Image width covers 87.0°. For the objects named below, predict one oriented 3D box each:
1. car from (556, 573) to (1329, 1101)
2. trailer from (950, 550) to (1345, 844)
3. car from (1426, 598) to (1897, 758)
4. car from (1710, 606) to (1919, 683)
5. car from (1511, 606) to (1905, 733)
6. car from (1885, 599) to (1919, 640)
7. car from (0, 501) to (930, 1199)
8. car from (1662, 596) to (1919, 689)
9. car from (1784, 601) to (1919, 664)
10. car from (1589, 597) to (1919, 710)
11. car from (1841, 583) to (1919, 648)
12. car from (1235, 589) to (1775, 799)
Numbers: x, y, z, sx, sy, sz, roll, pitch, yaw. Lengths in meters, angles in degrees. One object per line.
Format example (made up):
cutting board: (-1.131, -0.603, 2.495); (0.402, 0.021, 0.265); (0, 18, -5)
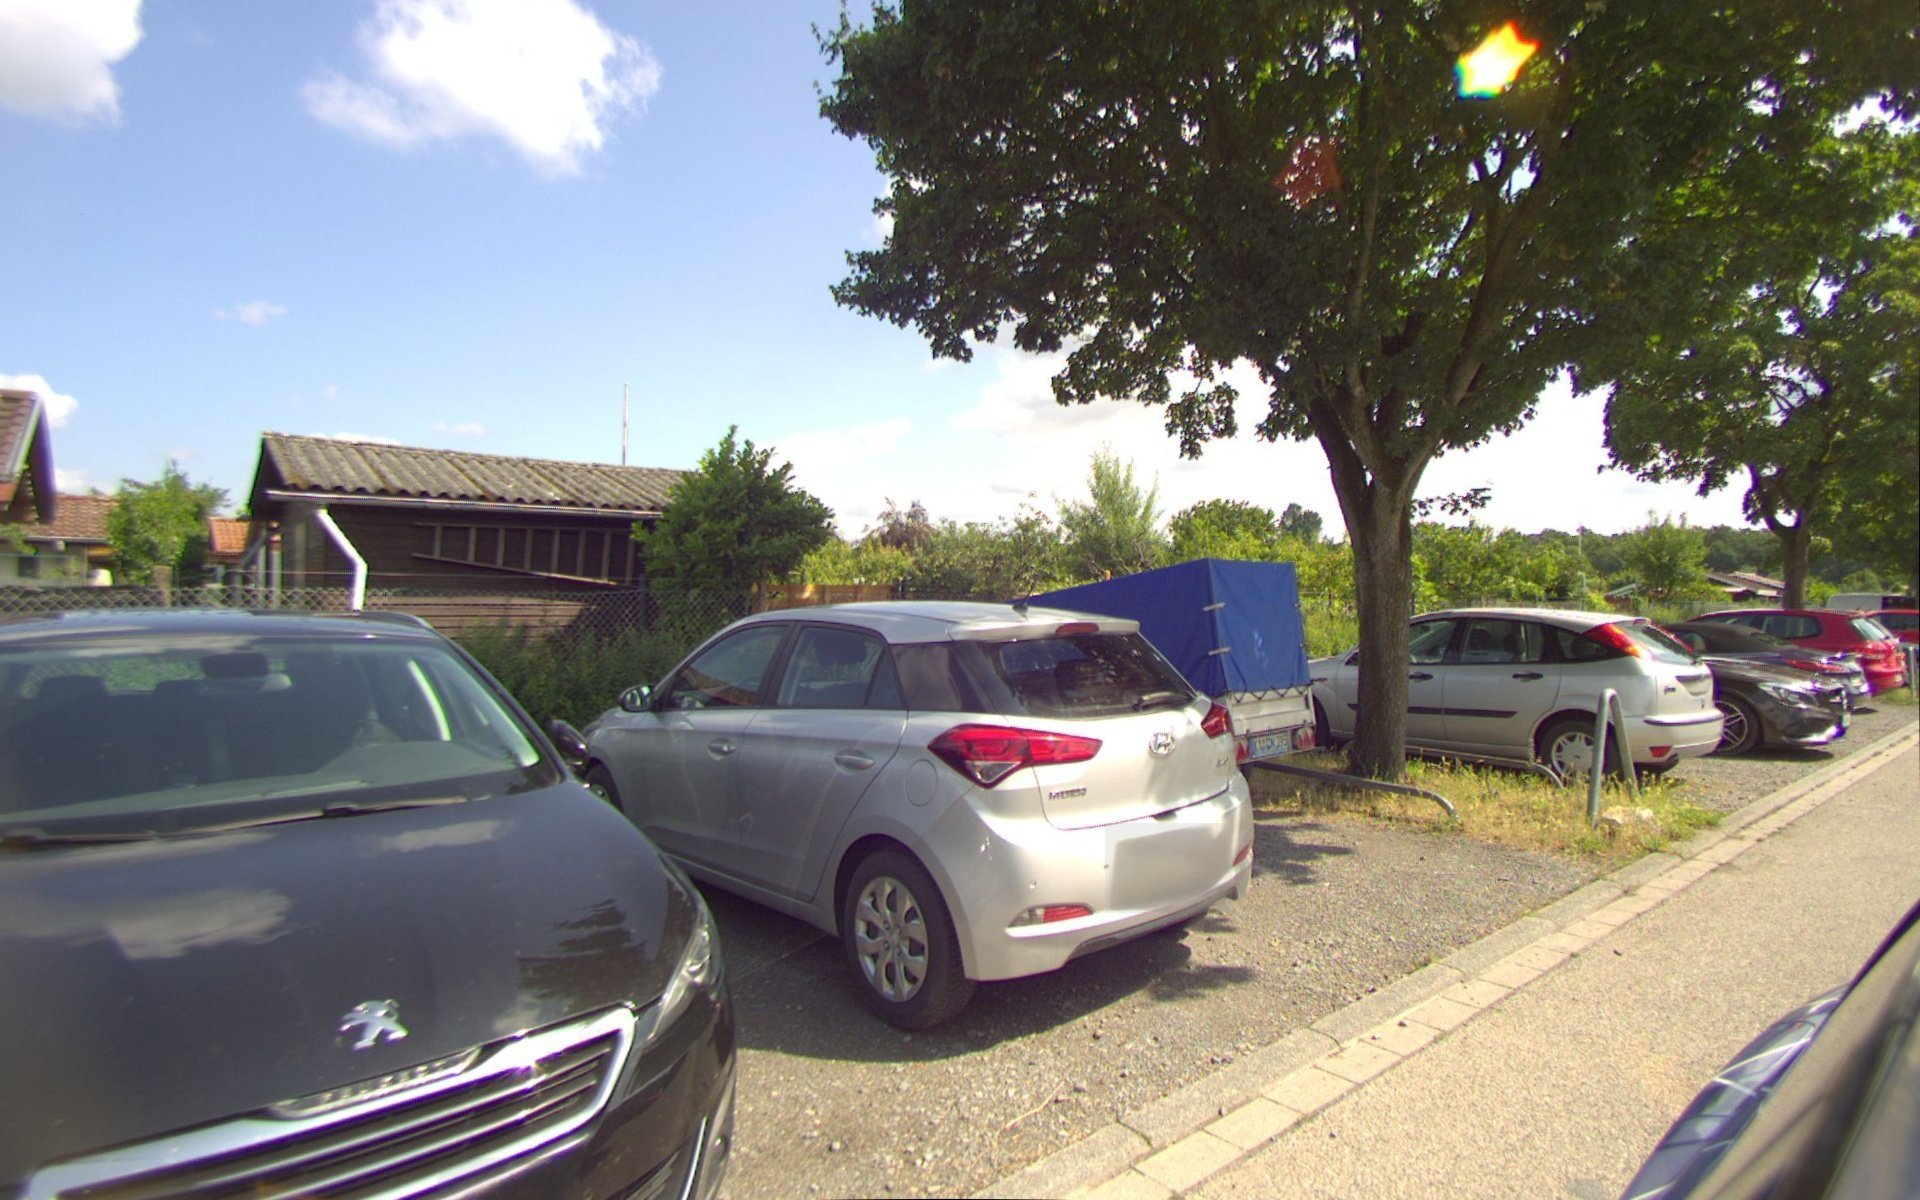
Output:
car: (-0.380, 0.719, 5.003); (1.818, 1.559, 3.727); (0, -1, -43)
trailer: (1.299, 0.599, 7.424); (1.493, 1.743, 2.452); (1, -2, -43)
car: (7.745, 0.743, 11.481); (1.838, 1.474, 4.070); (0, -1, -42)
car: (18.269, 0.869, 20.872); (1.876, 1.446, 4.242); (0, -1, -43)
car: (10.002, 0.821, 13.796); (1.921, 1.442, 3.921); (0, -1, -37)
car: (36.607, 0.719, 36.573); (1.966, 1.484, 4.583); (0, 0, -43)
car: (-2.194, 0.713, 3.117); (1.965, 1.614, 4.309); (0, -1, -40)
car: (15.988, 0.747, 19.437); (1.836, 1.594, 3.771); (0, -1, -40)
car: (23.656, 0.792, 25.490); (1.844, 1.523, 4.192); (0, -1, -38)
car: (12.540, 0.759, 16.011); (1.820, 1.539, 3.998); (0, -1, -36)
car: (29.515, 0.483, 30.197); (2.075, 1.910, 4.642); (0, 1, -41)
car: (4.886, 0.701, 9.598); (1.921, 1.531, 4.075); (0, -1, -37)
